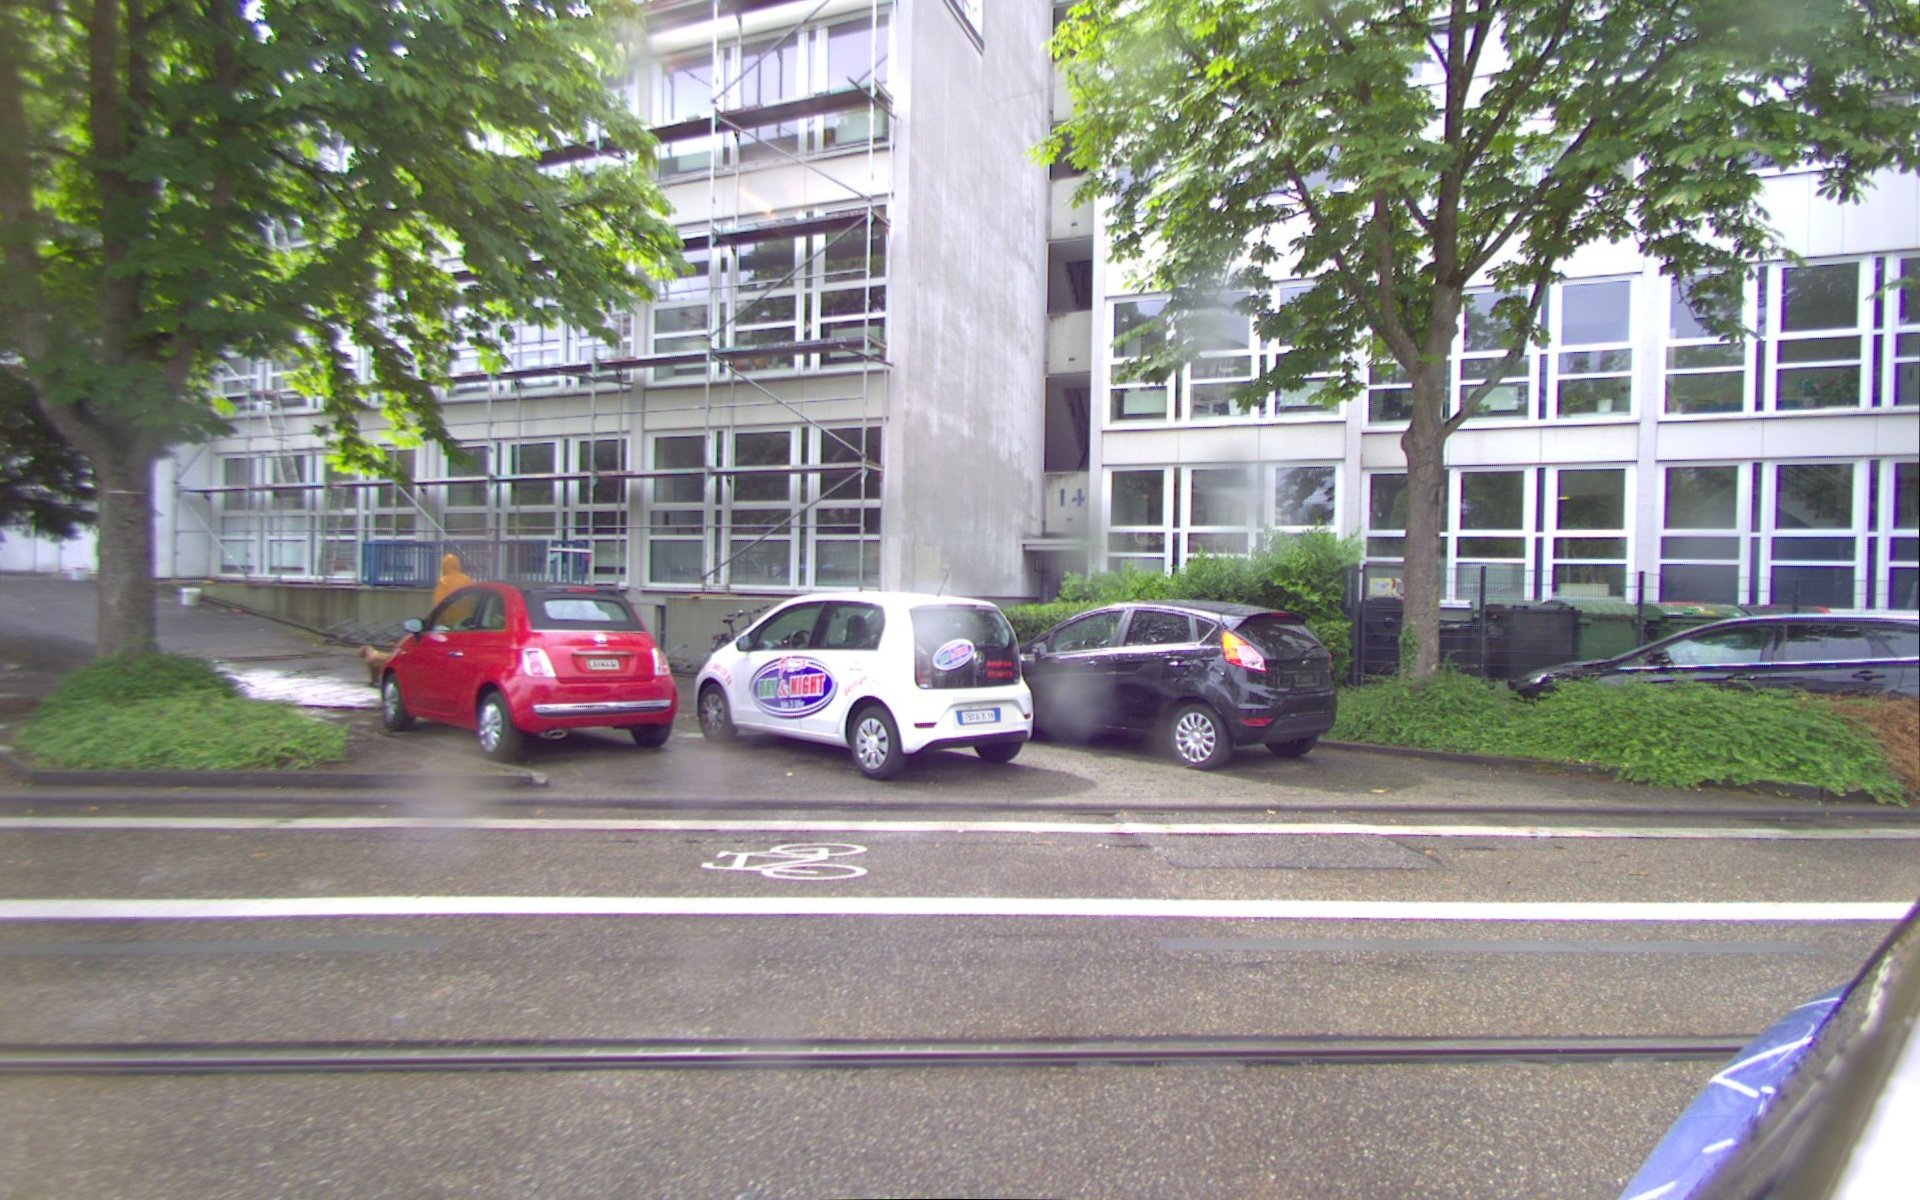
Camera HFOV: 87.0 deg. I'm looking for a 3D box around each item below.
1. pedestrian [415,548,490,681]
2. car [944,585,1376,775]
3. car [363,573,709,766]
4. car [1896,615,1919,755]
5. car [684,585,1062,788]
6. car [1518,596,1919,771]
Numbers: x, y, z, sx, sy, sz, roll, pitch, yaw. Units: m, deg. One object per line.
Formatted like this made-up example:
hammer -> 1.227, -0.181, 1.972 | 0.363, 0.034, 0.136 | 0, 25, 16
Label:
pedestrian -> -7.015, 0.195, 13.994 | 0.696, 1.765, 0.837 | 1, -2, -44
car -> 1.807, 0.639, 10.077 | 1.785, 1.500, 3.971 | 1, -1, -41
car -> -4.107, 0.529, 9.603 | 3.394, 1.488, 1.715 | 1, -1, 42
car -> 12.046, 0.889, 10.106 | 3.865, 1.472, 1.795 | -1, -2, 41
car -> -0.918, 0.629, 9.345 | 3.398, 1.470, 1.683 | 2, 1, 45
car -> 8.458, 0.795, 10.562 | 4.351, 1.575, 1.850 | -1, -3, 41
